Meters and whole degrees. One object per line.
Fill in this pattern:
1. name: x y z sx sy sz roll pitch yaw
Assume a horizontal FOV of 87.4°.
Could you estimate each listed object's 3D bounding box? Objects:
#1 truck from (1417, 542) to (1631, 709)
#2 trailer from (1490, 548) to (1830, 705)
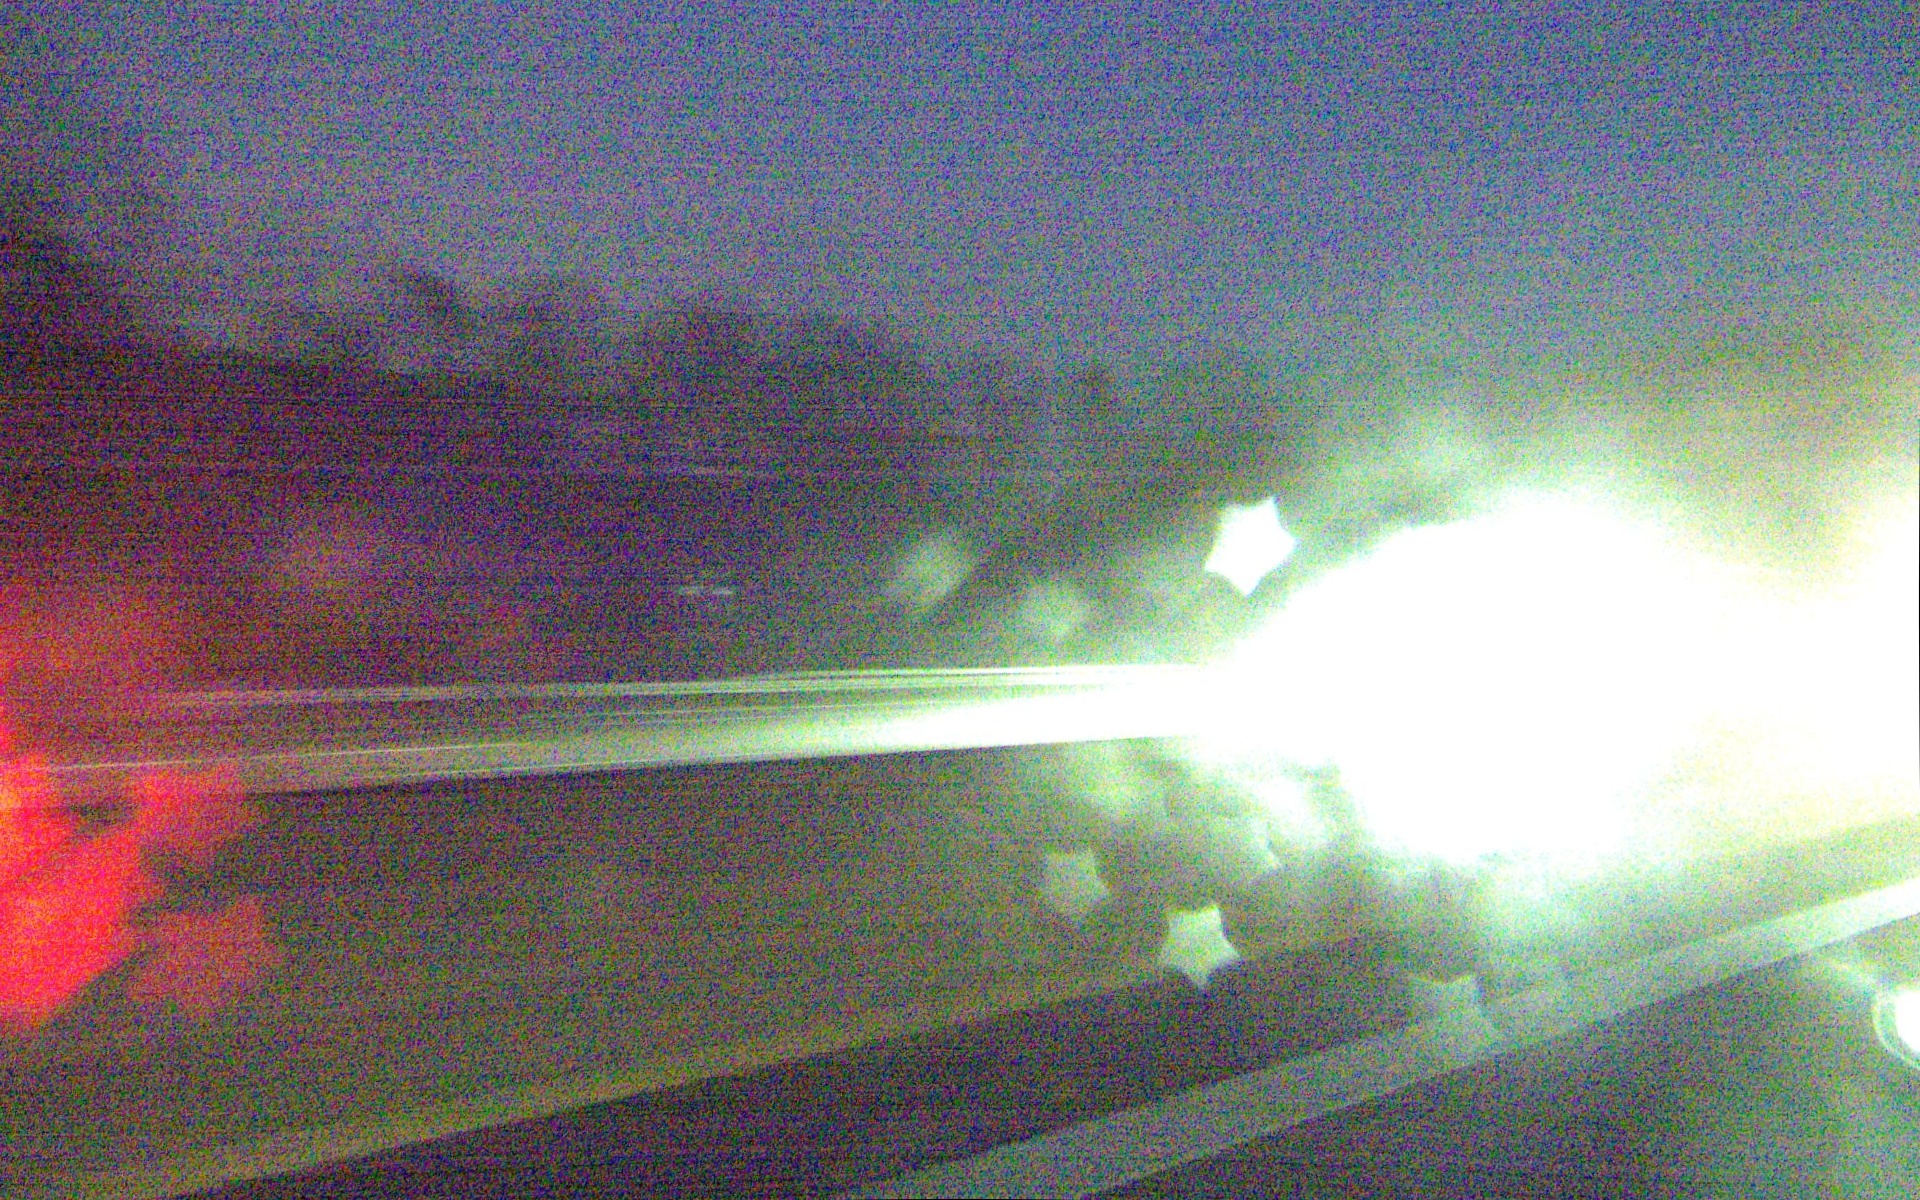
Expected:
1. truck: 15.923 0.698 28.298 5.667 4.277 2.678 1 0 -30
2. trailer: 23.056 0.899 32.432 15.458 4.277 2.678 2 0 -30
